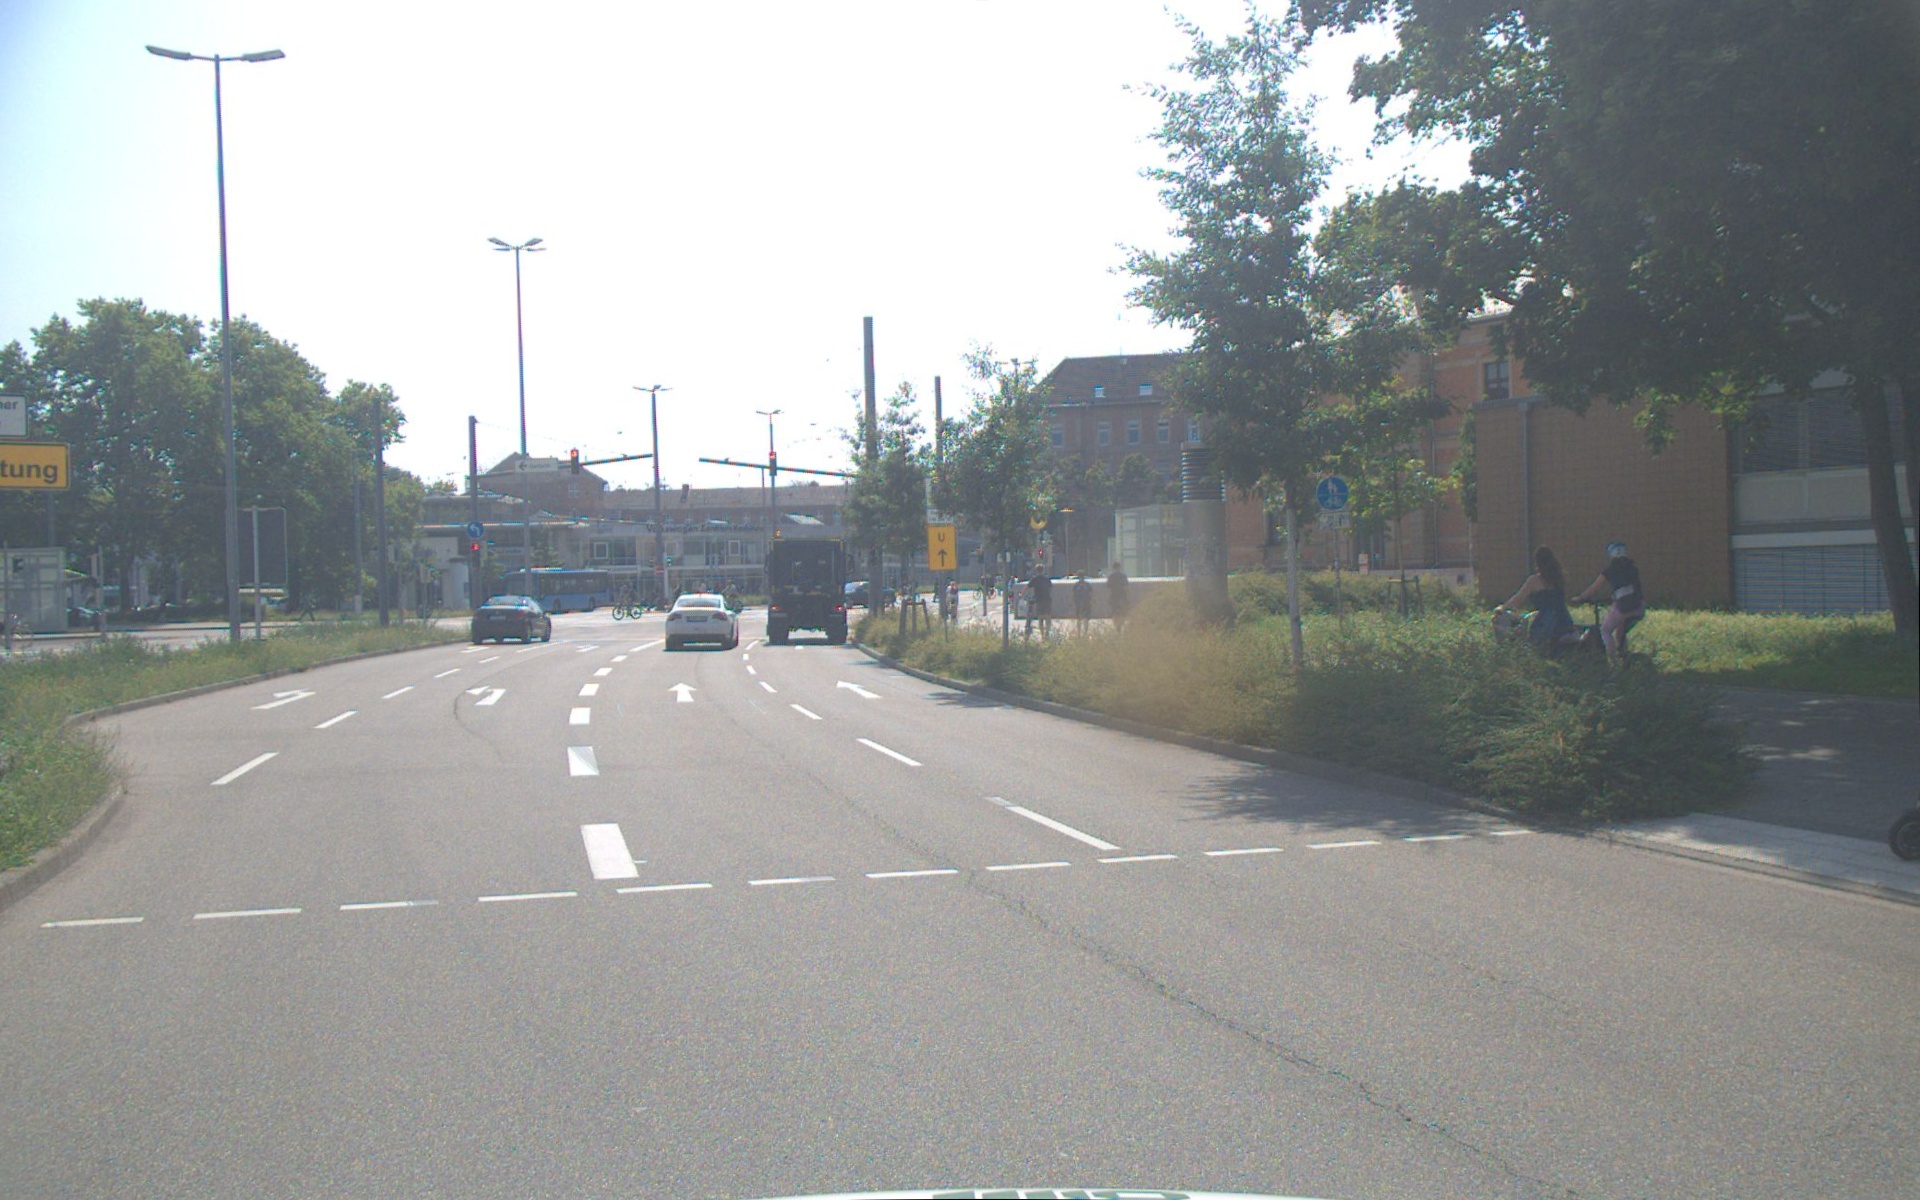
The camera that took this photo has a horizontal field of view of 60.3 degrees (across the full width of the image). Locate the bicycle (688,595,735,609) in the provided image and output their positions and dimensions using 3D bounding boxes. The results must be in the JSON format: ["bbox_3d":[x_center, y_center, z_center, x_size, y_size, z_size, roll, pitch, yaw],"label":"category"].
[{"bbox_3d":[-16.028,0.128,106.643,2.898,0.740,0.858,-2,1,-25],"label":"bicycle"}]

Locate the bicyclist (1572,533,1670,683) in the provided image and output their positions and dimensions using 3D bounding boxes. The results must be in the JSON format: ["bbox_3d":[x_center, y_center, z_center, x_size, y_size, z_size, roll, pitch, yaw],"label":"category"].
[{"bbox_3d":[6.932,0.076,17.366,0.540,1.522,0.799,-2,0,-18],"label":"bicyclist"}]

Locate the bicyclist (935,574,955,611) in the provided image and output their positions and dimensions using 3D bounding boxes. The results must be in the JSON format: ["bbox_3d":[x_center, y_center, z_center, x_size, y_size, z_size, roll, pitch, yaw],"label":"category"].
[{"bbox_3d":[-0.558,-0.280,61.850,0.661,1.343,0.683,-2,0,-5],"label":"bicyclist"}]

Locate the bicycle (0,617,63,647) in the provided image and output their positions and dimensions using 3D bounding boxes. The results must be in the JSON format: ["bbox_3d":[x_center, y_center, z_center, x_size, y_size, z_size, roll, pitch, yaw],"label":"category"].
[{"bbox_3d":[-32.412,1.100,57.186,2.377,0.970,0.599,-2,1,-24],"label":"bicycle"}]

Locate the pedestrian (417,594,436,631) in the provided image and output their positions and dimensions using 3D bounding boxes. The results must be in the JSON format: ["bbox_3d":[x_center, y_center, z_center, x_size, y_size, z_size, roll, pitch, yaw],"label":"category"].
[{"bbox_3d":[-19.228,0.439,59.618,0.588,1.290,0.501,-2,3,-24],"label":"pedestrian"}]

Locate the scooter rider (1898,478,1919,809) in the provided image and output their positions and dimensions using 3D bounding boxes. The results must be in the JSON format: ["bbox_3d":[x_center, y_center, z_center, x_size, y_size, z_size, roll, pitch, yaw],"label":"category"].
[{"bbox_3d":[5.472,0.224,8.583,0.785,1.769,0.689,-2,0,6],"label":"scooter rider"}]

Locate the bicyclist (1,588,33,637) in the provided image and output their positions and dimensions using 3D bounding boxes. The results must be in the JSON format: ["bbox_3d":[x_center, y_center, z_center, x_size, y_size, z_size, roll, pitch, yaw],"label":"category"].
[{"bbox_3d":[-32.566,0.420,57.125,0.828,1.671,0.602,-2,0,-24],"label":"bicyclist"}]

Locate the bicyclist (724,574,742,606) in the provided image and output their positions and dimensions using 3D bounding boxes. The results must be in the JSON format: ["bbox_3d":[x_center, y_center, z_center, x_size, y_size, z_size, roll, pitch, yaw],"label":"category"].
[{"bbox_3d":[-12.167,-0.515,88.593,0.677,1.678,0.619,-1,1,25],"label":"bicyclist"}]

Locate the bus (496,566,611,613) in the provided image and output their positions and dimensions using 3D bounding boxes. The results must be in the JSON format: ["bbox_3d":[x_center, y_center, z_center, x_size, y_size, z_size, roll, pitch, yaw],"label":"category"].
[{"bbox_3d":[-27.887,-0.805,114.253,2.988,2.982,11.864,-1,1,10],"label":"bus"}]

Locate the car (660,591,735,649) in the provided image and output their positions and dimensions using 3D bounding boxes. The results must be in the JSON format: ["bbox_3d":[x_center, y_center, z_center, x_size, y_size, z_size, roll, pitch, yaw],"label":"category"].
[{"bbox_3d":[-7.195,0.508,45.731,1.724,1.480,4.421,-1,1,-5],"label":"car"}]

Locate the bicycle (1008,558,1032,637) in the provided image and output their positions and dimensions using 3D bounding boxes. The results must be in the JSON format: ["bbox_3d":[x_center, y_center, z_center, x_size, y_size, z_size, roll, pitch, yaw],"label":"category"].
[{"bbox_3d":[1.467,-0.072,40.197,0.446,1.892,1.364,-1,1,6],"label":"bicycle"}]

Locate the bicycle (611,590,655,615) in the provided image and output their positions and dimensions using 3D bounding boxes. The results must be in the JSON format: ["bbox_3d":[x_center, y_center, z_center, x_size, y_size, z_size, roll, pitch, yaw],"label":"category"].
[{"bbox_3d":[-16.351,0.117,82.625,0.965,1.199,2.792,-2,1,-38],"label":"bicycle"}]

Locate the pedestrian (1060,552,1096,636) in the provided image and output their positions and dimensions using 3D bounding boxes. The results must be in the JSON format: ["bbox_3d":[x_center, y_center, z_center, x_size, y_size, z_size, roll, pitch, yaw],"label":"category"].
[{"bbox_3d":[2.866,-0.156,40.251,0.761,2.007,0.754,-1,1,8],"label":"pedestrian"}]

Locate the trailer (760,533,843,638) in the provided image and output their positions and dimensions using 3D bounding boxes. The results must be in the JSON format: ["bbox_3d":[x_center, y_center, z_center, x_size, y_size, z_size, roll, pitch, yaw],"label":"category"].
[{"bbox_3d":[-4.868,-0.453,51.412,2.414,3.060,6.319,0,1,-5],"label":"trailer"}]

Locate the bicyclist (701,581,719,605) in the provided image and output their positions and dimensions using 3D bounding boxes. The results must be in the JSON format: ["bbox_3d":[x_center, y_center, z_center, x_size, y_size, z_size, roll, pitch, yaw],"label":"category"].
[{"bbox_3d":[-16.111,-0.466,106.602,0.892,1.527,0.858,-2,1,-25],"label":"bicyclist"}]

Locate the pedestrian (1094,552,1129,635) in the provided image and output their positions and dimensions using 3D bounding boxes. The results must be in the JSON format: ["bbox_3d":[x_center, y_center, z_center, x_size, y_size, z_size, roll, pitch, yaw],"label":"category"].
[{"bbox_3d":[3.720,-0.160,40.584,0.761,2.007,0.754,-1,1,8],"label":"pedestrian"}]

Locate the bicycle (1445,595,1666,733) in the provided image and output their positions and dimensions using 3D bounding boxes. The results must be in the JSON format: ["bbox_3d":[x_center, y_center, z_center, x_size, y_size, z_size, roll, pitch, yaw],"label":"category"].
[{"bbox_3d":[5.609,0.558,15.765,0.682,1.175,2.361,-4,1,-16],"label":"bicycle"}]

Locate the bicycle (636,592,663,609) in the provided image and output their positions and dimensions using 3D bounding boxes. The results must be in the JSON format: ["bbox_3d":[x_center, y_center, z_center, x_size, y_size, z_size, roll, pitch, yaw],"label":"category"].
[{"bbox_3d":[-19.316,0.021,102.950,1.557,1.002,0.508,-1,0,10],"label":"bicycle"}]

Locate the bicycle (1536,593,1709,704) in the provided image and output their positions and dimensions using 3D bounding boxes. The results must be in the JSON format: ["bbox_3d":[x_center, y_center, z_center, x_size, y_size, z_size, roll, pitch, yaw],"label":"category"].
[{"bbox_3d":[6.927,0.475,17.401,0.547,1.078,1.994,-2,1,-17],"label":"bicycle"}]

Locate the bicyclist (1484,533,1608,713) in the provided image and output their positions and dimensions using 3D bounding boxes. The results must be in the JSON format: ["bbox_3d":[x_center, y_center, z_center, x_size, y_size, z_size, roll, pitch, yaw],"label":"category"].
[{"bbox_3d":[5.580,0.206,15.773,0.679,1.626,0.840,-4,1,-16],"label":"bicyclist"}]

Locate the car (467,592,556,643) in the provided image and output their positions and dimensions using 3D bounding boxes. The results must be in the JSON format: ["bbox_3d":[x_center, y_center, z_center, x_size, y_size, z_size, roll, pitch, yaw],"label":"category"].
[{"bbox_3d":[-13.587,0.512,50.325,1.722,1.429,3.979,-1,1,-2],"label":"car"}]

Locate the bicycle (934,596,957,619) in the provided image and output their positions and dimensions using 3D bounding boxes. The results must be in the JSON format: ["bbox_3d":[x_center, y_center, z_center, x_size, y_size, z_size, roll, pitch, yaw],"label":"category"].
[{"bbox_3d":[-0.544,0.265,61.930,0.661,0.790,2.125,-2,1,-5],"label":"bicycle"}]

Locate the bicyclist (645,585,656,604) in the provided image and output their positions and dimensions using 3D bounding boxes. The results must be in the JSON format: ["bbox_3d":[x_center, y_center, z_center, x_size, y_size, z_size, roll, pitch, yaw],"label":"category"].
[{"bbox_3d":[-19.275,-0.341,102.942,0.492,1.209,0.508,-1,0,10],"label":"bicyclist"}]

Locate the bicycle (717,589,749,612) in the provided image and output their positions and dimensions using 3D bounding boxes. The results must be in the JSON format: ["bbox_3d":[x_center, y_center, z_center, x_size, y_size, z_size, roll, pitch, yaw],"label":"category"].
[{"bbox_3d":[-12.142,0.037,88.622,0.682,1.156,2.042,-1,1,25],"label":"bicycle"}]

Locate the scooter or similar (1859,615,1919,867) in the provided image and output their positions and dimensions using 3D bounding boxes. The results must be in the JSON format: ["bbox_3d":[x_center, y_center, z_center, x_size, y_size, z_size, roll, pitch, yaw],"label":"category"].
[{"bbox_3d":[5.542,0.700,8.635,1.334,1.256,0.586,-2,0,6],"label":"scooter or similar"}]

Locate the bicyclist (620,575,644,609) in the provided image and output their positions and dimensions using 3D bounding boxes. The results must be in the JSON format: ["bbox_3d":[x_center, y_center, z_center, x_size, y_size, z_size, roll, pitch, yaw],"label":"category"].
[{"bbox_3d":[-16.371,-0.394,82.626,0.966,1.682,0.653,-2,1,-39],"label":"bicyclist"}]

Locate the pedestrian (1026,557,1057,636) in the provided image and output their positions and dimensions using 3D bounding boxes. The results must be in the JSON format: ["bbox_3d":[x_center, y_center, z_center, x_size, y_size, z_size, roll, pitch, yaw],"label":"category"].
[{"bbox_3d":[1.983,-0.101,40.367,0.646,1.892,0.794,-2,0,7],"label":"pedestrian"}]

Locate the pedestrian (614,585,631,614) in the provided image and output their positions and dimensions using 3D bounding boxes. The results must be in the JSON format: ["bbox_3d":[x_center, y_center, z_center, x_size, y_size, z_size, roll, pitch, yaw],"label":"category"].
[{"bbox_3d":[-21.578,-0.038,105.671,0.766,1.782,0.809,-1,1,9],"label":"pedestrian"}]
